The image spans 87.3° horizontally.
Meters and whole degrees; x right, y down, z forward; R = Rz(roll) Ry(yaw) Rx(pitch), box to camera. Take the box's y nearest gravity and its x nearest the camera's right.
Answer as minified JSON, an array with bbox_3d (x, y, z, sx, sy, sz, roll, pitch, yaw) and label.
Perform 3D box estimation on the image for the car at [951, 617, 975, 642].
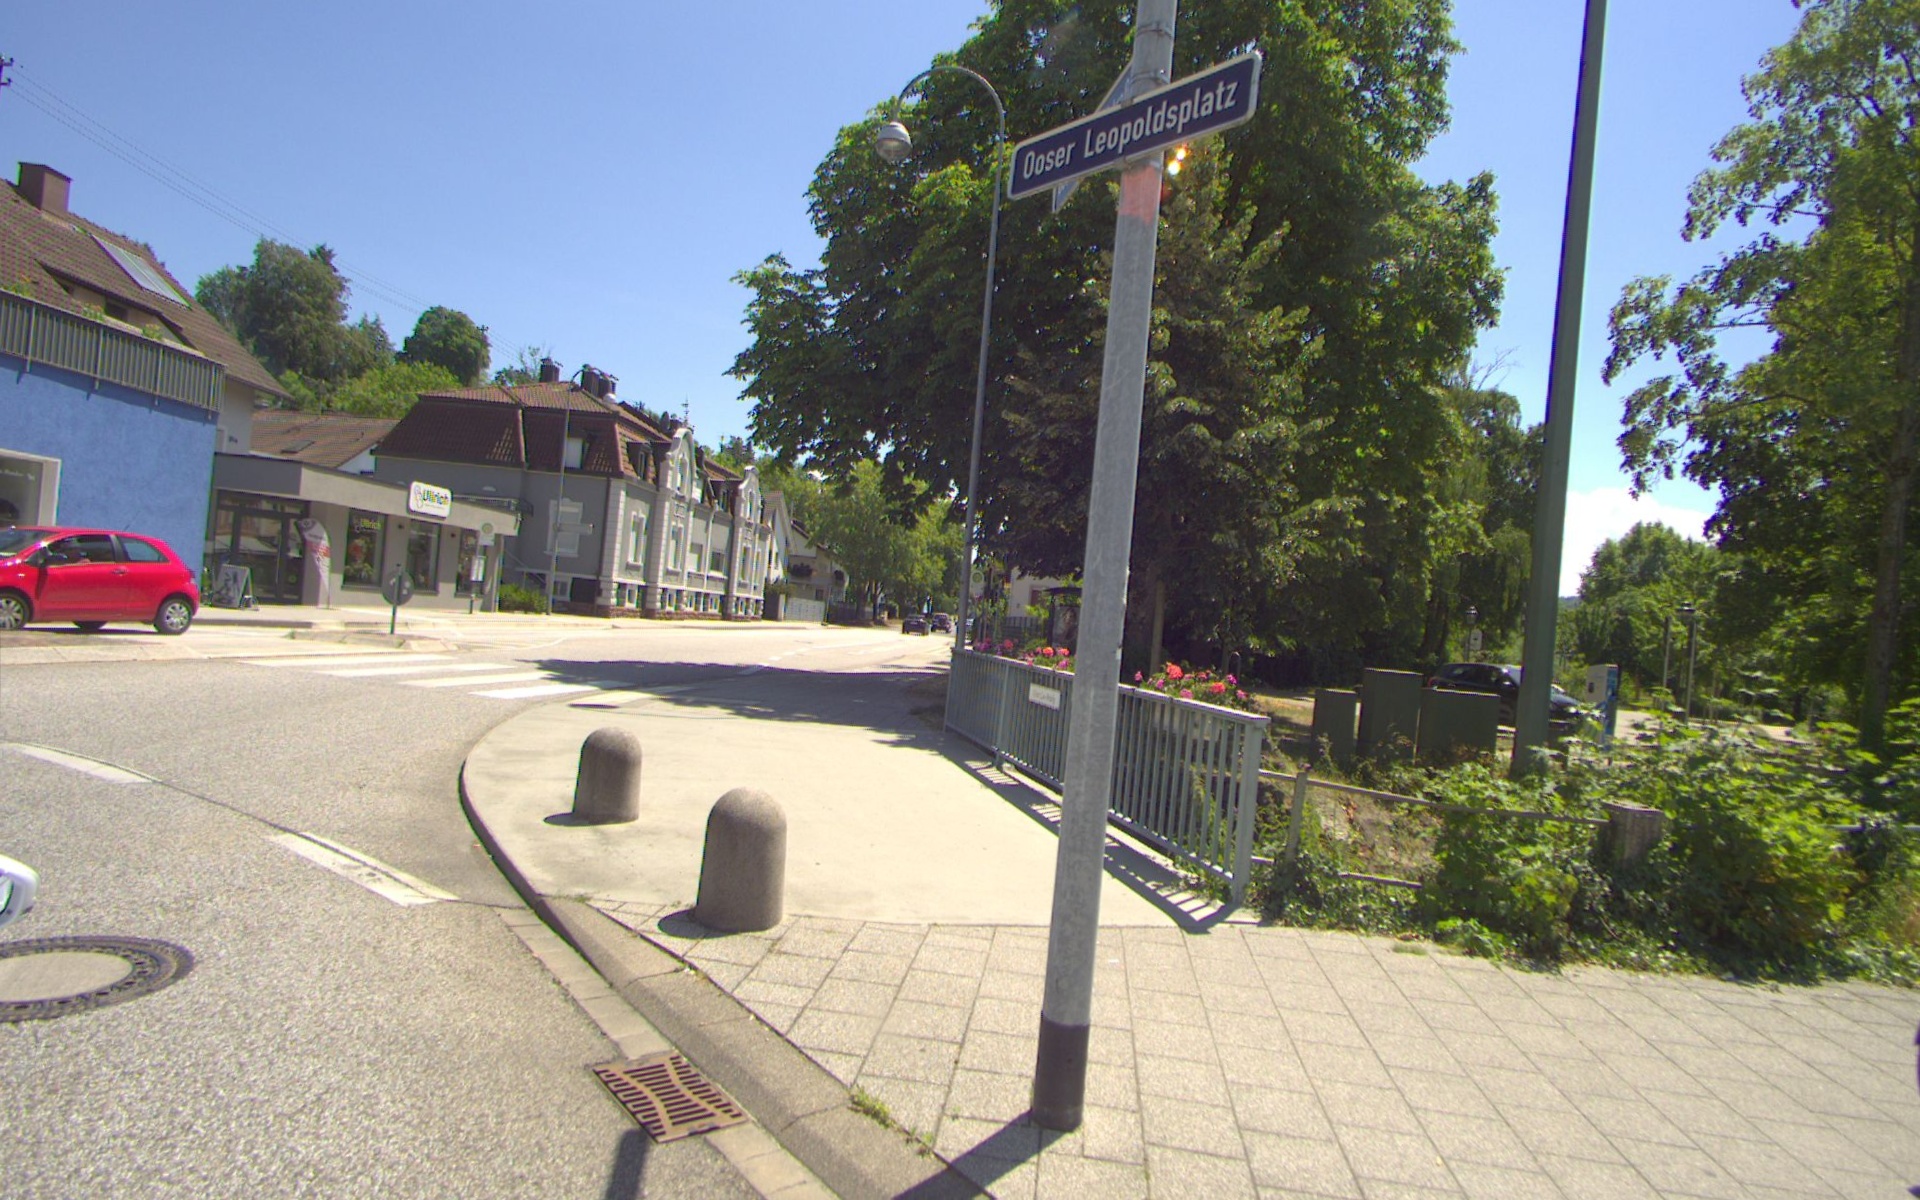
[{"bbox_3d":[0.316,2.866,97.152,1.962,2.036,4.006,7,-3,4],"label":"car"}]

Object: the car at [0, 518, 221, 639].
[{"bbox_3d":[-13.061,-0.286,14.293,1.799,1.552,4.003,3,-1,7],"label":"car"}]

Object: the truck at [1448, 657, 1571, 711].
[{"bbox_3d":[33.070,5.052,60.678,6.124,2.470,2.259,5,-3,36],"label":"truck"}]

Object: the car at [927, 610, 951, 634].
[{"bbox_3d":[-1.990,2.153,97.124,1.963,2.036,4.005,7,-3,1],"label":"car"}]

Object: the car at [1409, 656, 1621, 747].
[{"bbox_3d":[13.022,2.343,23.848,1.819,1.621,3.975,6,-1,-26],"label":"car"}]

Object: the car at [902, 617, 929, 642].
[{"bbox_3d":[-3.410,2.281,77.178,1.707,1.725,4.005,4,-3,1],"label":"car"}]

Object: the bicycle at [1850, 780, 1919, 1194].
[{"bbox_3d":[3.779,1.258,2.716,1.819,1.170,0.809,5,1,26],"label":"bicycle"}]
